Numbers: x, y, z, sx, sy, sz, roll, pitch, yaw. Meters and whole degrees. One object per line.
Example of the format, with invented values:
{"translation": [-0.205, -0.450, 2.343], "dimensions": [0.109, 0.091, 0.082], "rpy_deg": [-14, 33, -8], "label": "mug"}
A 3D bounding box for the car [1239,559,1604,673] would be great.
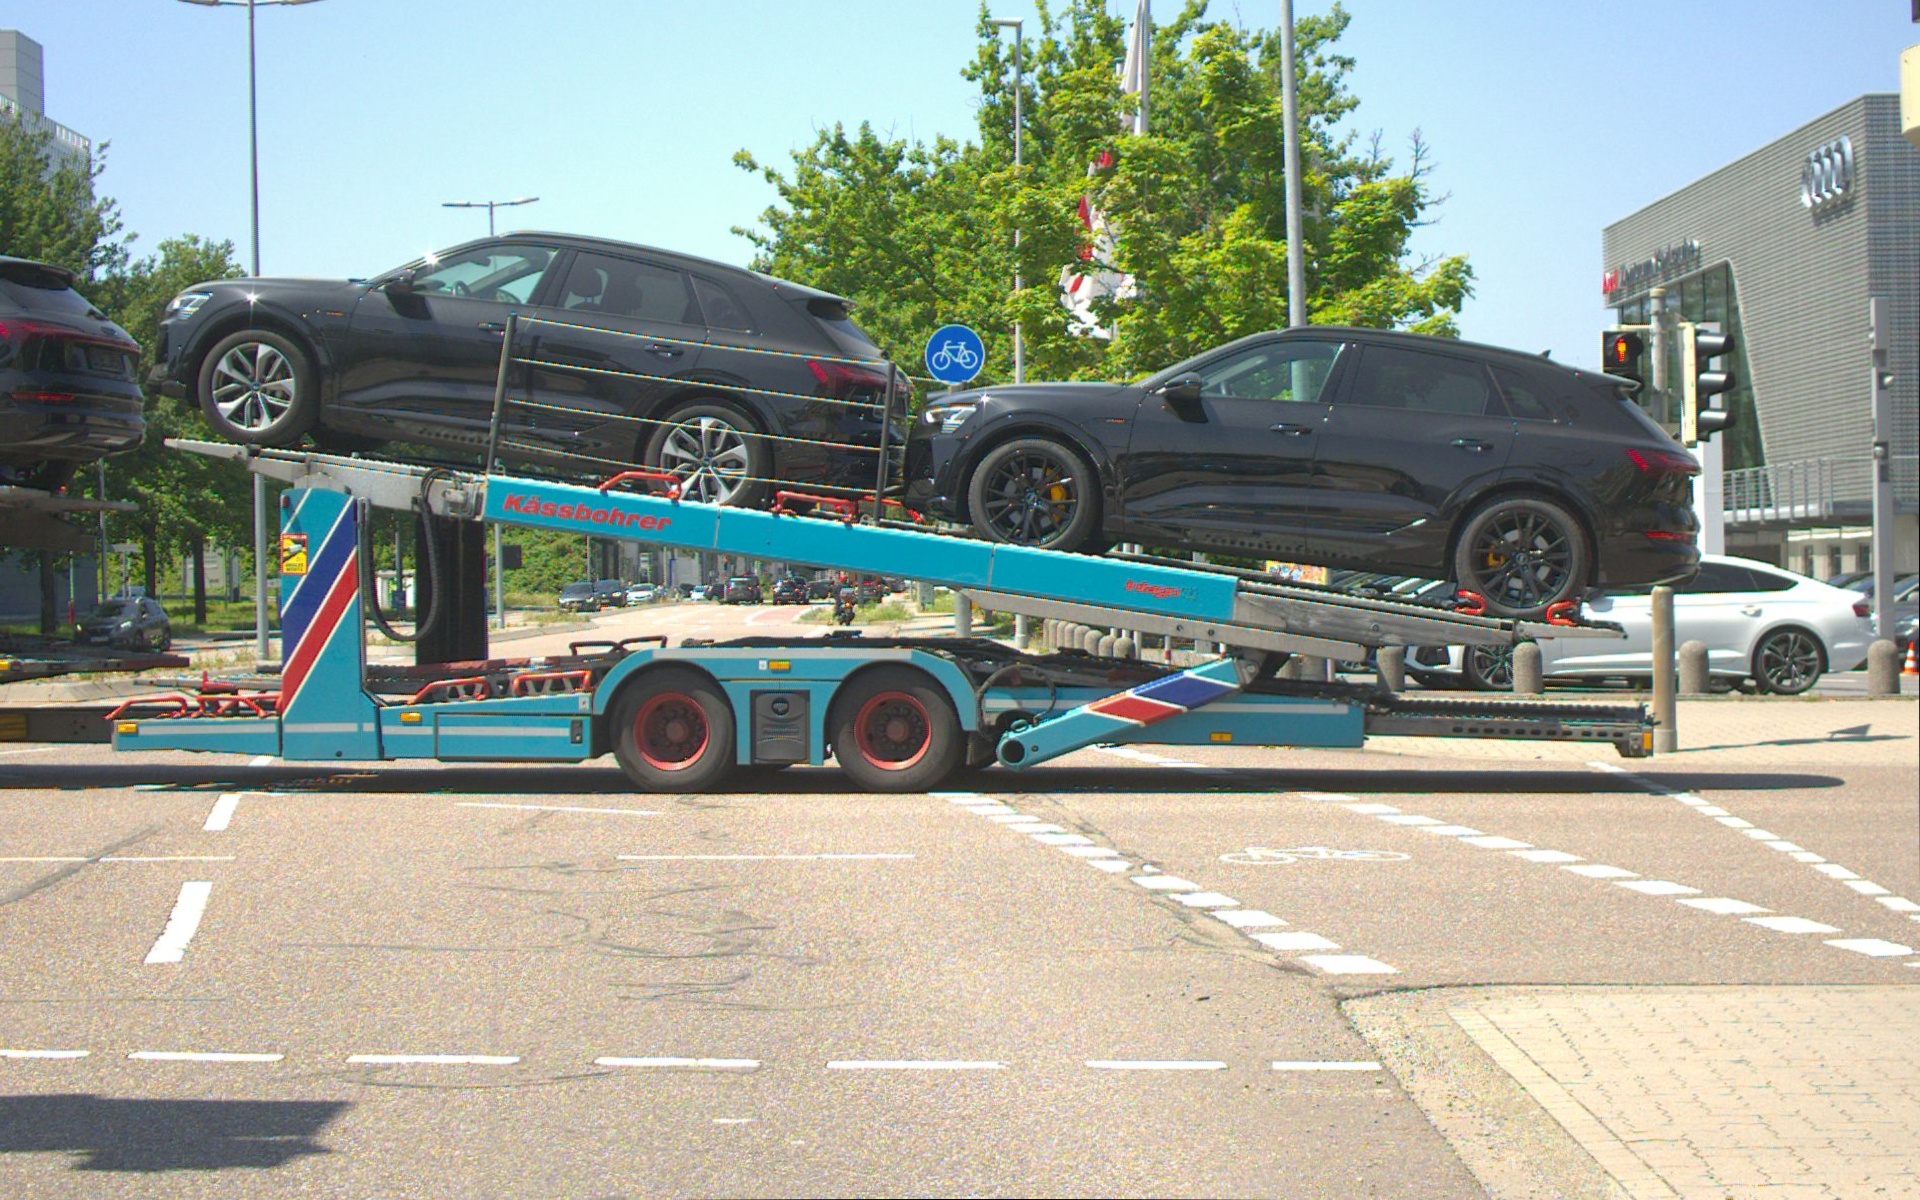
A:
{"translation": [6.367, 0.202, 47.761], "dimensions": [4.741, 1.452, 2.000], "rpy_deg": [-1, 1, -2], "label": "car"}

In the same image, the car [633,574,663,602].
{"translation": [-19.509, -0.769, 214.794], "dimensions": [1.648, 1.647, 4.164], "rpy_deg": [-1, 1, -3], "label": "car"}

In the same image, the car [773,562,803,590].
{"translation": [-11.076, -1.559, 221.532], "dimensions": [1.772, 1.722, 4.000], "rpy_deg": [-1, 0, -1], "label": "car"}

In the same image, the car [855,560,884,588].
{"translation": [-5.840, -1.677, 222.201], "dimensions": [1.772, 1.722, 4.000], "rpy_deg": [-1, 0, -1], "label": "car"}

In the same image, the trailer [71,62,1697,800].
{"translation": [-0.361, -0.920, 21.413], "dimensions": [9.617, 4.067, 3.093], "rpy_deg": [0, 0, 11], "label": "trailer"}

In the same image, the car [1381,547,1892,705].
{"translation": [6.715, 0.237, 34.526], "dimensions": [4.741, 1.452, 2.000], "rpy_deg": [-1, 1, 1], "label": "car"}

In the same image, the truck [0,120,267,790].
{"translation": [-10.345, -0.868, 23.461], "dimensions": [10.623, 4.069, 3.099], "rpy_deg": [0, 0, 11], "label": "truck"}

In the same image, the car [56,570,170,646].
{"translation": [-23.327, 0.246, 94.818], "dimensions": [1.994, 2.007, 3.999], "rpy_deg": [-1, -1, 3], "label": "car"}

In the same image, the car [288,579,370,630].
{"translation": [-21.641, 0.143, 118.034], "dimensions": [1.927, 1.659, 4.088], "rpy_deg": [-1, 0, 2], "label": "car"}

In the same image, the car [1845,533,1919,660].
{"translation": [16.615, -0.106, 55.717], "dimensions": [3.987, 2.007, 2.000], "rpy_deg": [-1, 1, 0], "label": "car"}

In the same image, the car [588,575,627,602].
{"translation": [-18.529, -0.612, 180.959], "dimensions": [1.684, 1.406, 3.665], "rpy_deg": [-1, 0, -1], "label": "car"}

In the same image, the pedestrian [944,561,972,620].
{"translation": [-0.052, -0.246, 89.314], "dimensions": [0.668, 1.505, 0.736], "rpy_deg": [-1, 1, -1], "label": "pedestrian"}

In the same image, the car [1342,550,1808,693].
{"translation": [6.658, 0.234, 37.594], "dimensions": [4.741, 1.452, 2.000], "rpy_deg": [-1, 0, 1], "label": "car"}

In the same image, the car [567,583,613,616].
{"translation": [-17.134, -0.031, 159.428], "dimensions": [1.732, 1.422, 3.706], "rpy_deg": [-3, 0, -1], "label": "car"}

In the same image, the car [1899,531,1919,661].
{"translation": [16.728, -0.104, 52.901], "dimensions": [3.987, 2.007, 2.000], "rpy_deg": [-1, 1, 0], "label": "car"}

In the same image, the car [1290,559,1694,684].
{"translation": [6.684, 0.252, 43.536], "dimensions": [4.741, 1.452, 2.000], "rpy_deg": [-1, 1, -2], "label": "car"}
